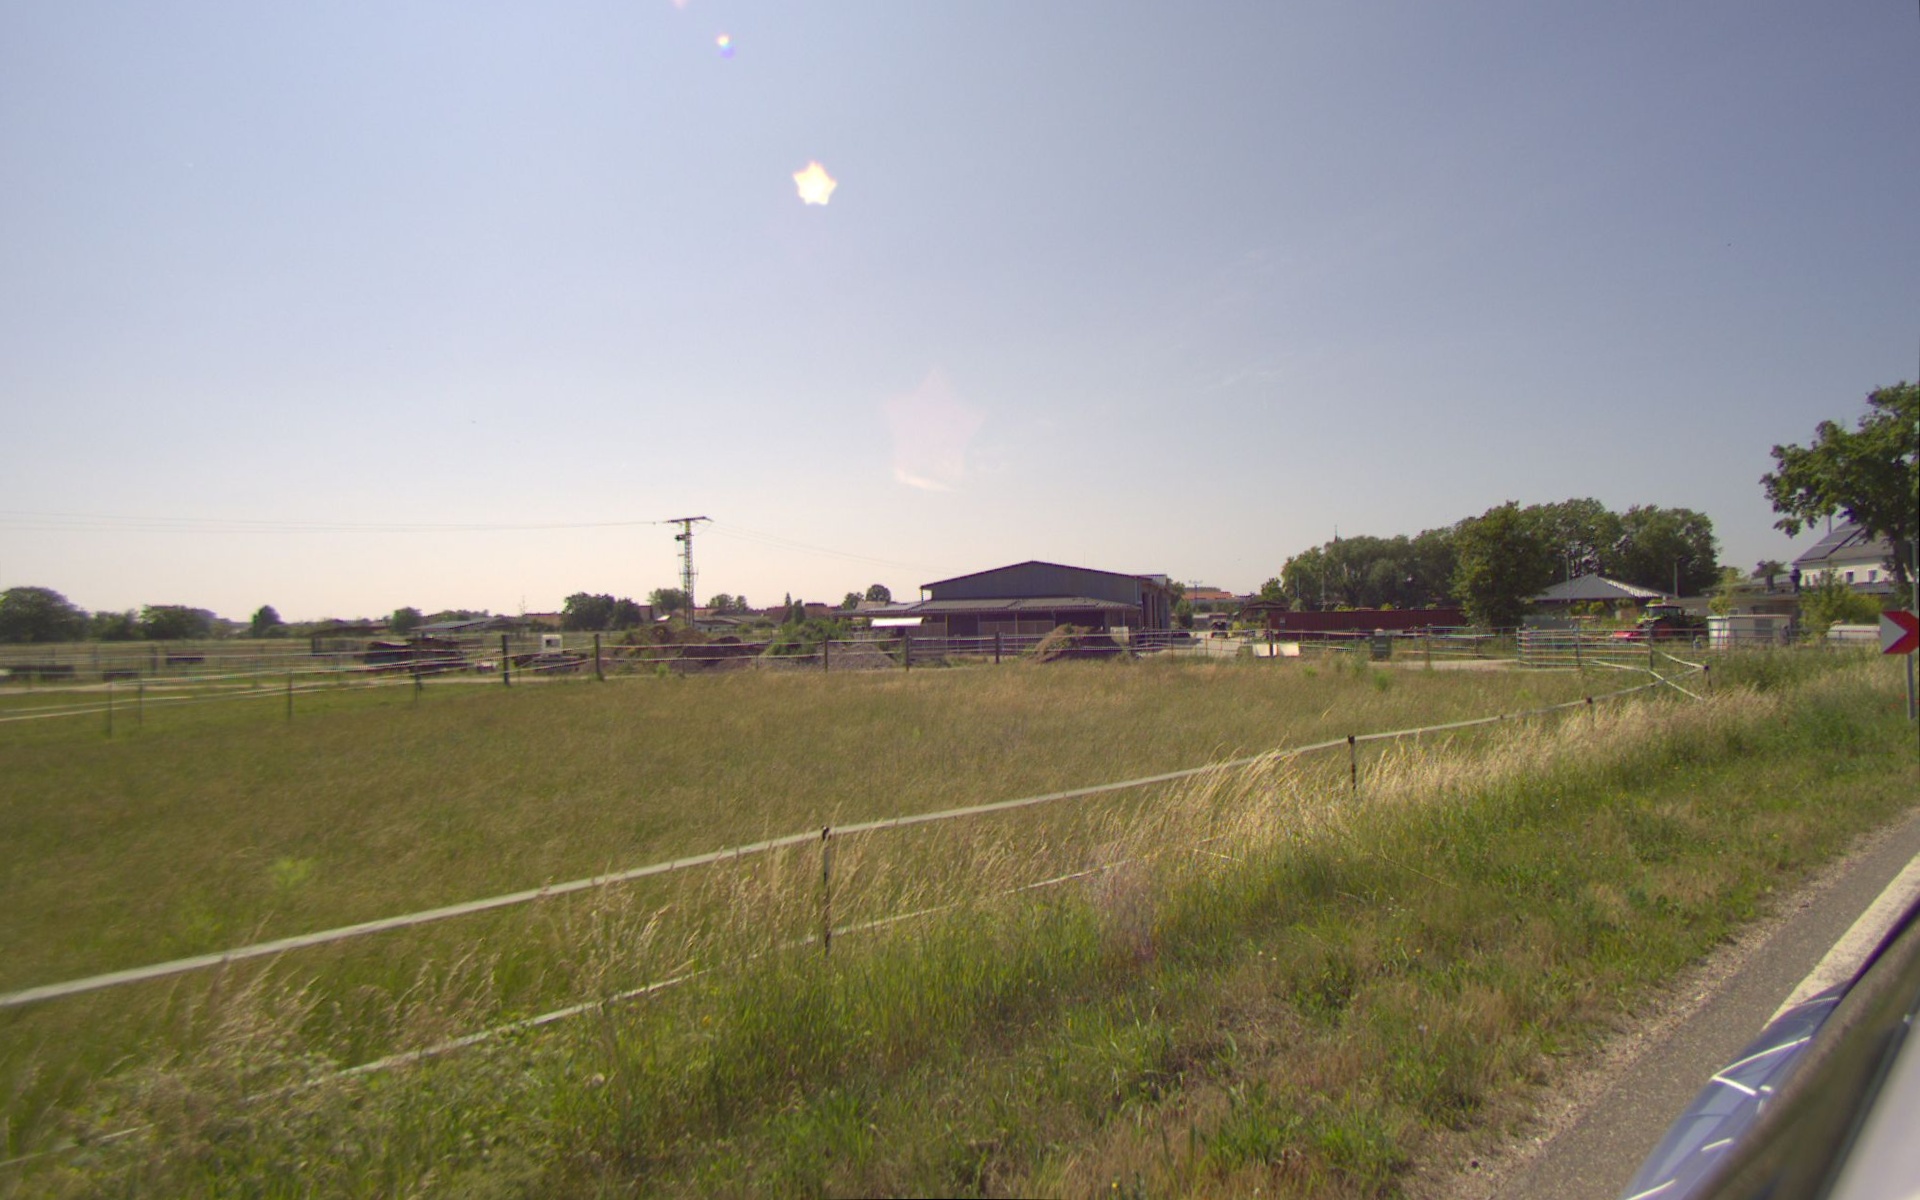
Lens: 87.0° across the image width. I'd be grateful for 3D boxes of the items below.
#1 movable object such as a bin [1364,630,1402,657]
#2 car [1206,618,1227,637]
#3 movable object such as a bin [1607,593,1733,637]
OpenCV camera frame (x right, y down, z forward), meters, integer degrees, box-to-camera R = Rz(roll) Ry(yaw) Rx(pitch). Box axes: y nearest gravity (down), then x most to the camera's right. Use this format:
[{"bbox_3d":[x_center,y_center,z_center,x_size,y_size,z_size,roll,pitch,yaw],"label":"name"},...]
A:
[{"bbox_3d":[22.200,2.282,53.169,1.491,1.367,1.370,-2,-2,8],"label":"movable object such as a bin"},{"bbox_3d":[30.089,3.204,118.779,1.973,2.040,3.976,-4,-3,18],"label":"car"},{"bbox_3d":[49.295,1.099,70.421,6.388,2.806,3.007,-2,-3,4],"label":"movable object such as a bin"}]
